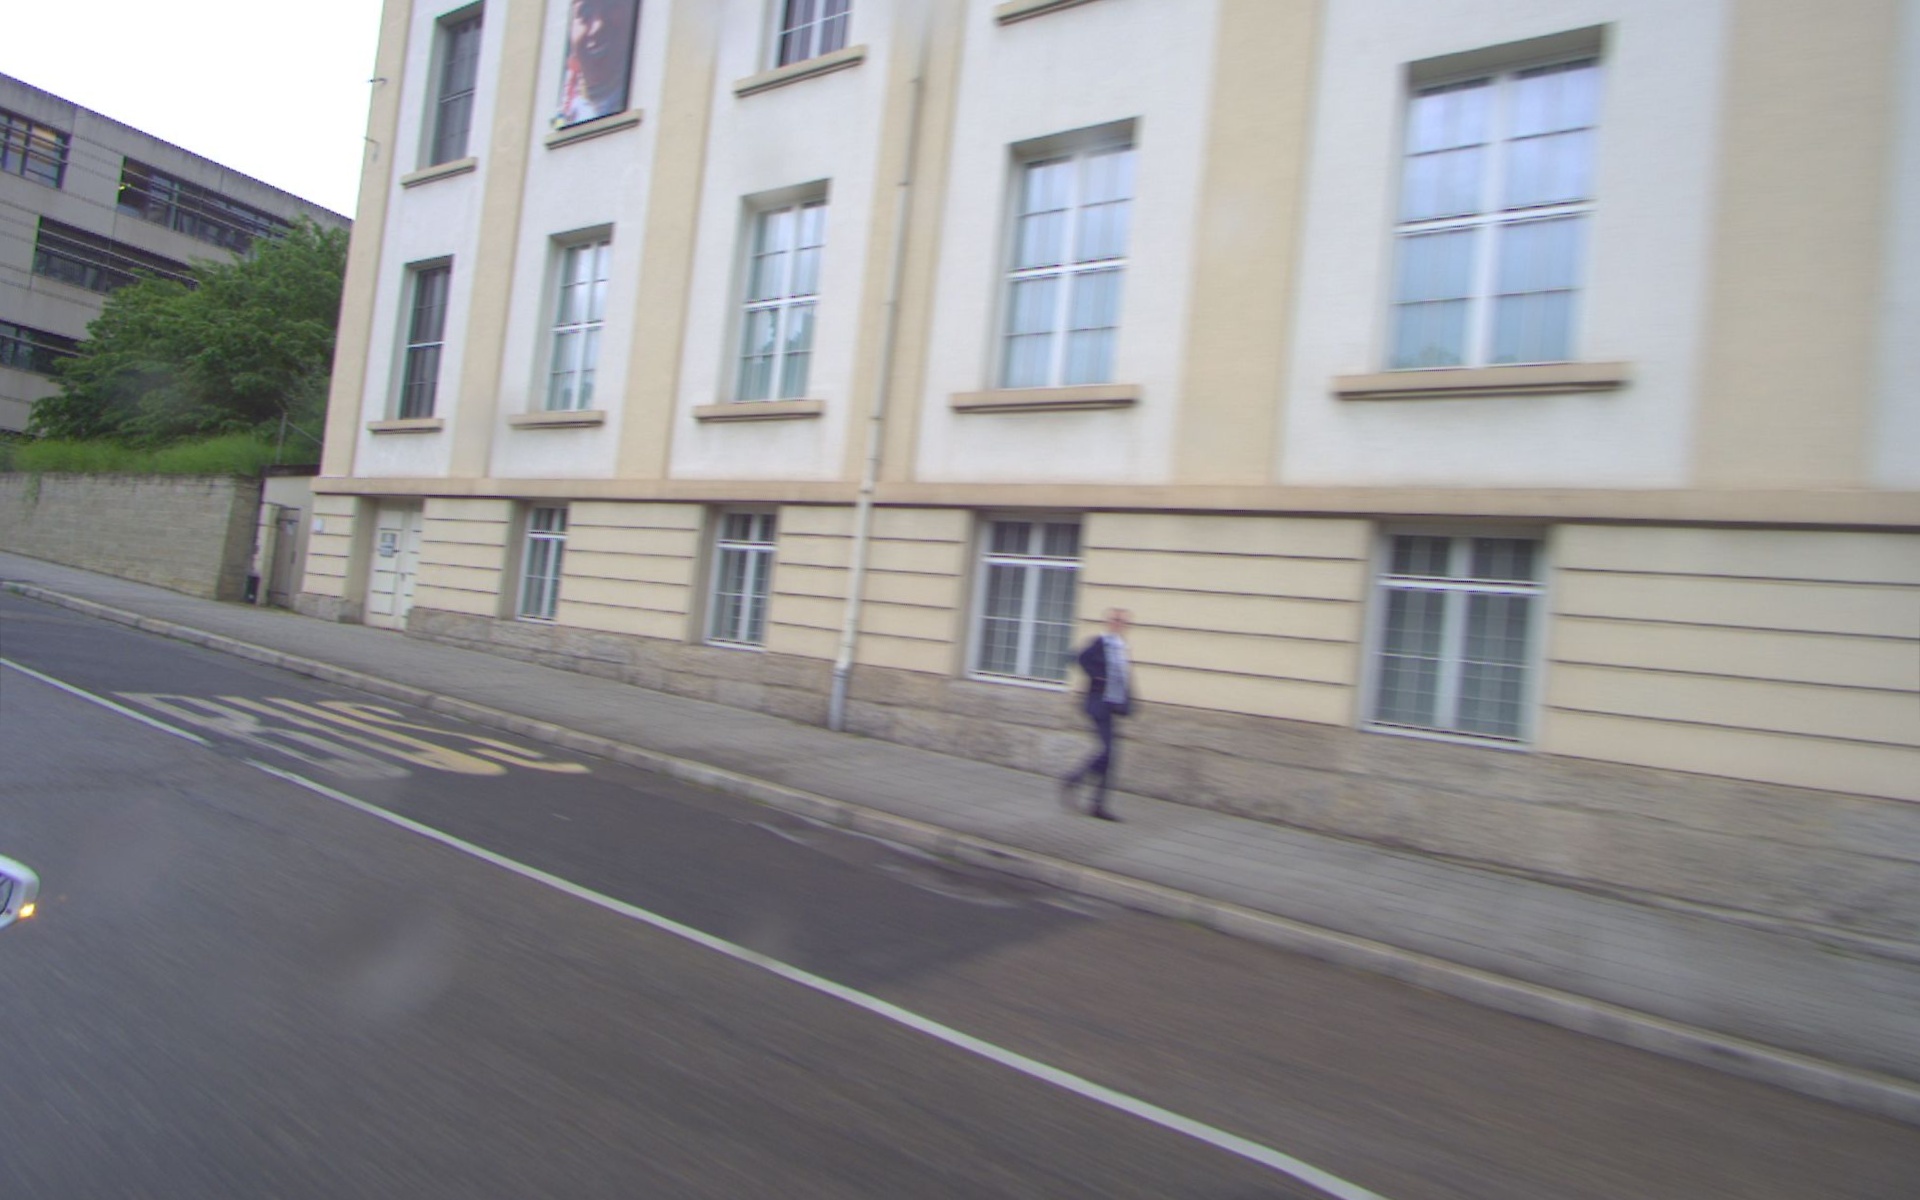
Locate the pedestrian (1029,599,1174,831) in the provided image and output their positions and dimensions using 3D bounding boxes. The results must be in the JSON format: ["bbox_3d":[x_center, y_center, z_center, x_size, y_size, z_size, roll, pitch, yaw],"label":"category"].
[{"bbox_3d":[1.226,0.963,8.671,0.838,1.819,0.670,7,0,34],"label":"pedestrian"}]
